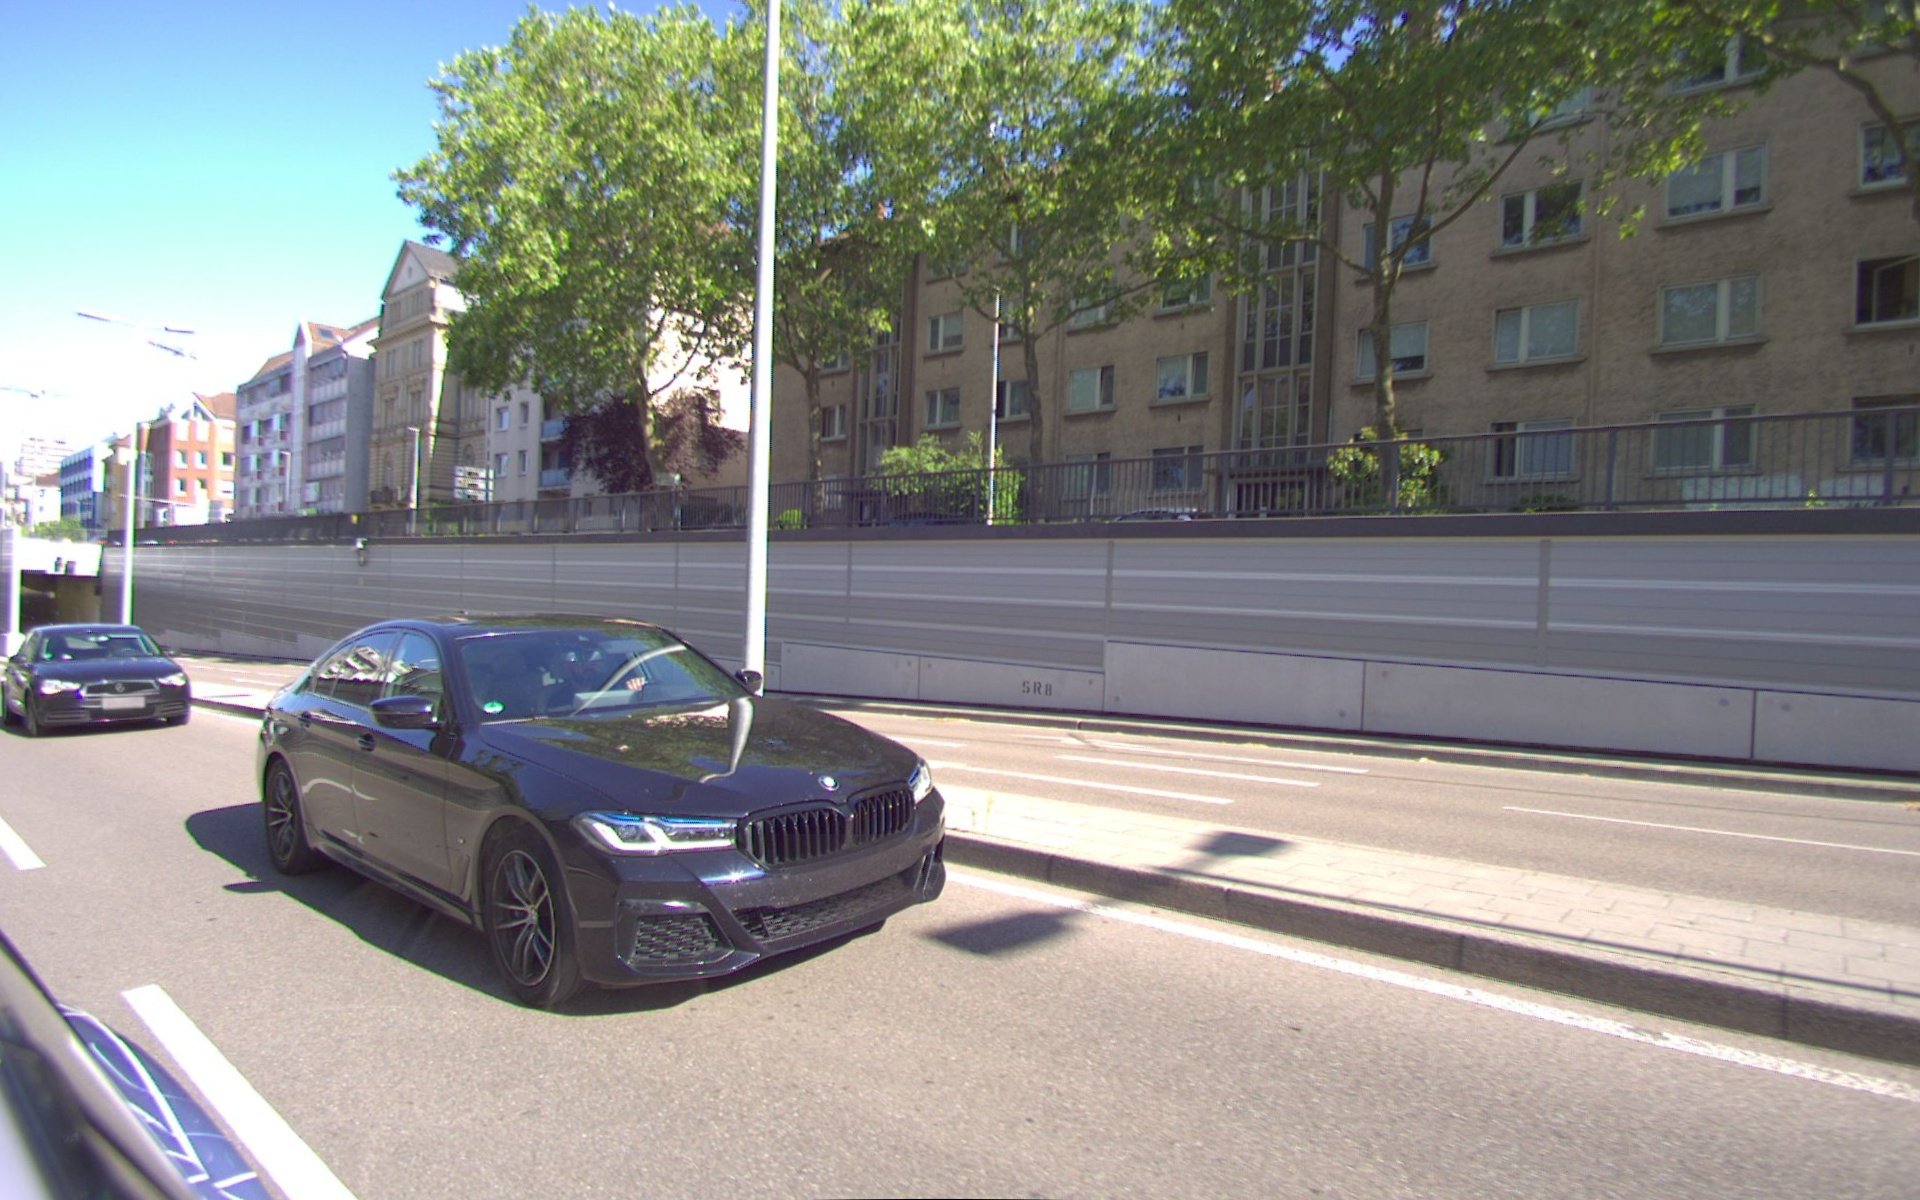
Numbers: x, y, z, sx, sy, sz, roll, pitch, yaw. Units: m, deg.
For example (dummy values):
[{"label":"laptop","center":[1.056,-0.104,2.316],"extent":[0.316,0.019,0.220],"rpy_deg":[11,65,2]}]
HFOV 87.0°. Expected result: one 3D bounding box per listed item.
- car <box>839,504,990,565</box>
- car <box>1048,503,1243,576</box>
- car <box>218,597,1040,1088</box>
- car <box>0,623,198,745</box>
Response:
[{"label":"car","center":[-1.402,-1.870,29.903],"extent":[4.300,1.596,1.902],"rpy_deg":[1,1,39]},{"label":"car","center":[4.452,-1.393,24.596],"extent":[4.300,1.596,1.902],"rpy_deg":[1,1,39]},{"label":"car","center":[-2.130,0.758,5.332],"extent":[4.999,1.450,1.790],"rpy_deg":[-1,0,41]},{"label":"car","center":[-12.131,1.056,14.060],"extent":[3.886,1.429,1.678],"rpy_deg":[-1,-1,41]}]
